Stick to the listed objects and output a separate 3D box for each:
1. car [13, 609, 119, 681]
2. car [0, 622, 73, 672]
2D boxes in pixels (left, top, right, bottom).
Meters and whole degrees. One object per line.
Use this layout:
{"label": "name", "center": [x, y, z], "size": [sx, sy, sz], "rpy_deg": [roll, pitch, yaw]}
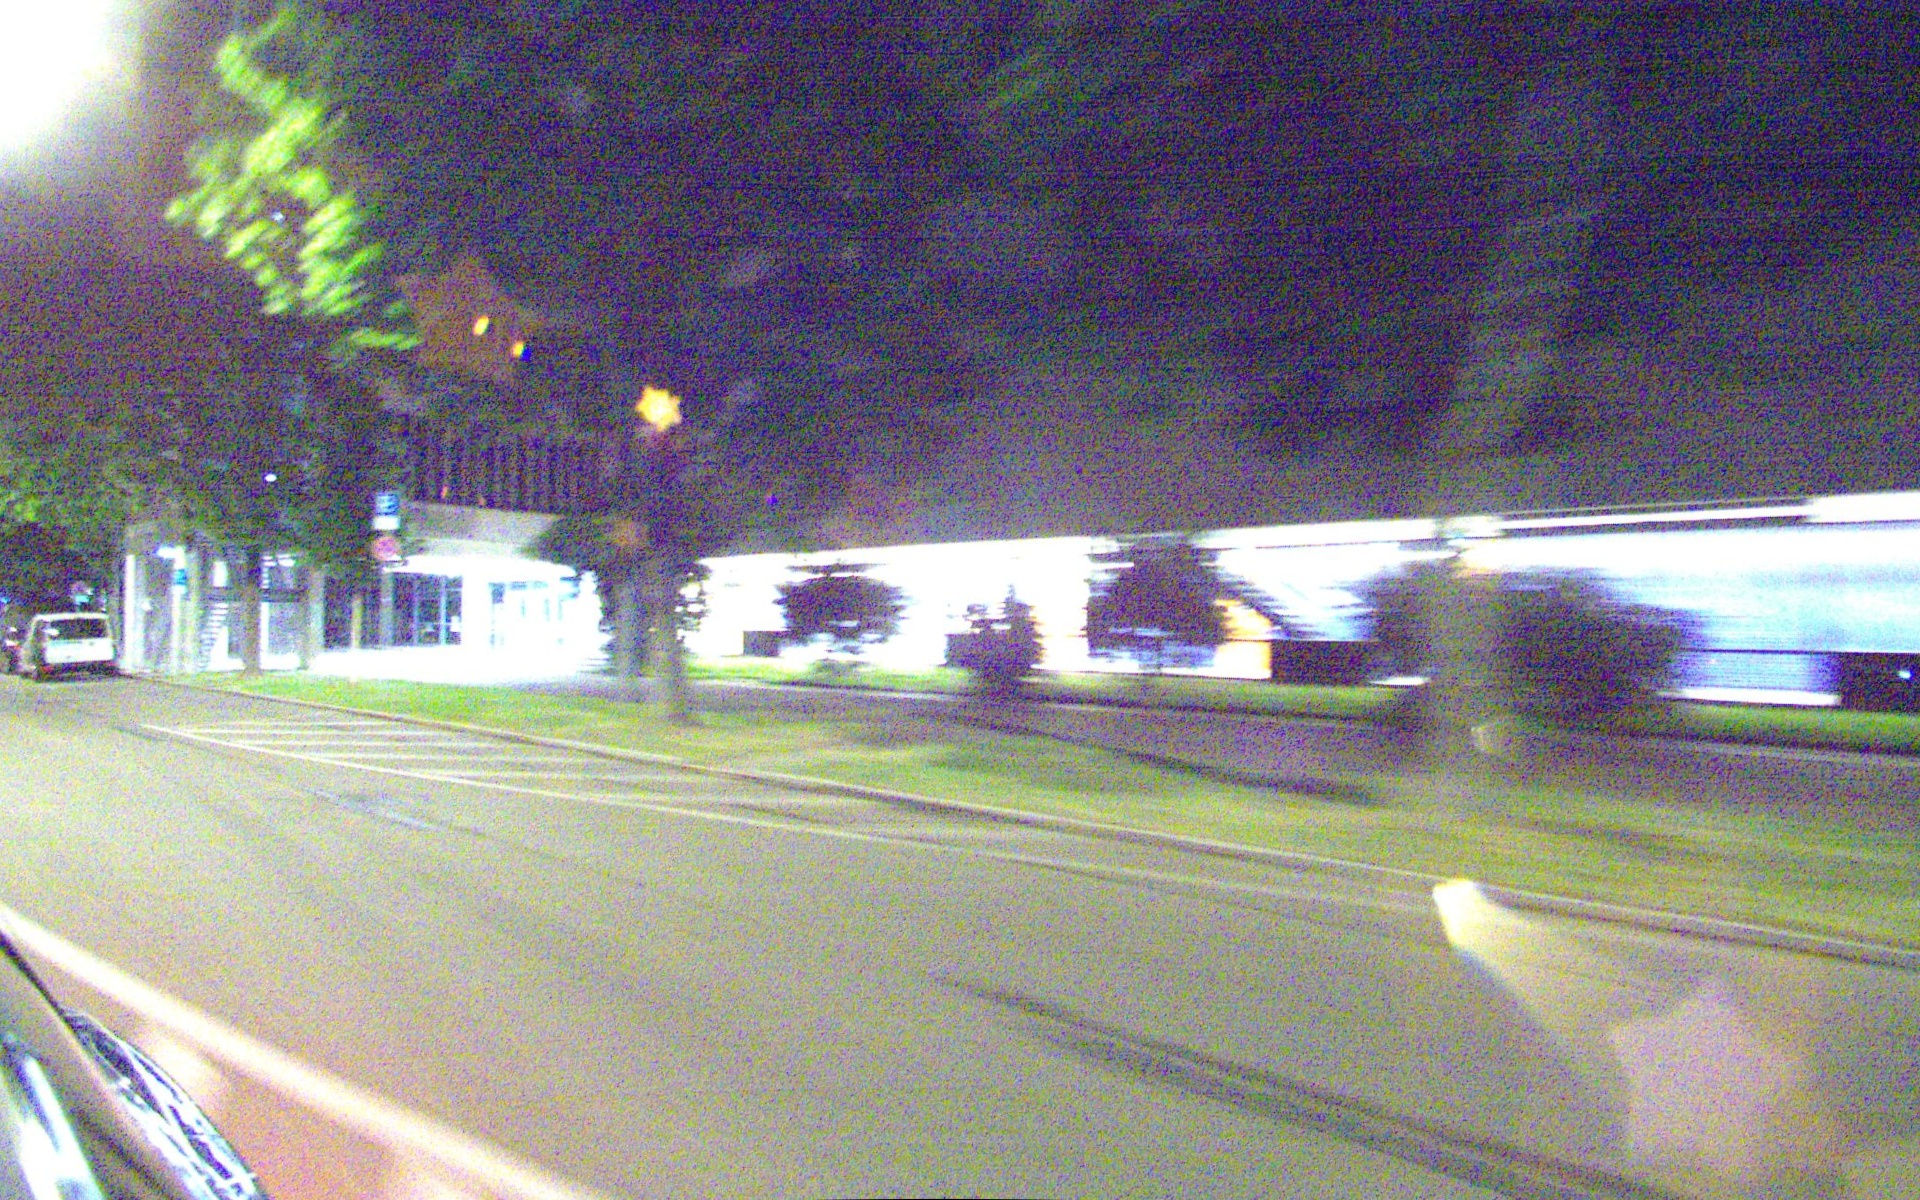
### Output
{"label": "car", "center": [-25.189, 1.216, 28.474], "size": [3.731, 1.822, 1.858], "rpy_deg": [-1, 0, 43]}
{"label": "car", "center": [-29.717, 1.447, 32.245], "size": [3.731, 1.443, 1.802], "rpy_deg": [-1, 0, 43]}
